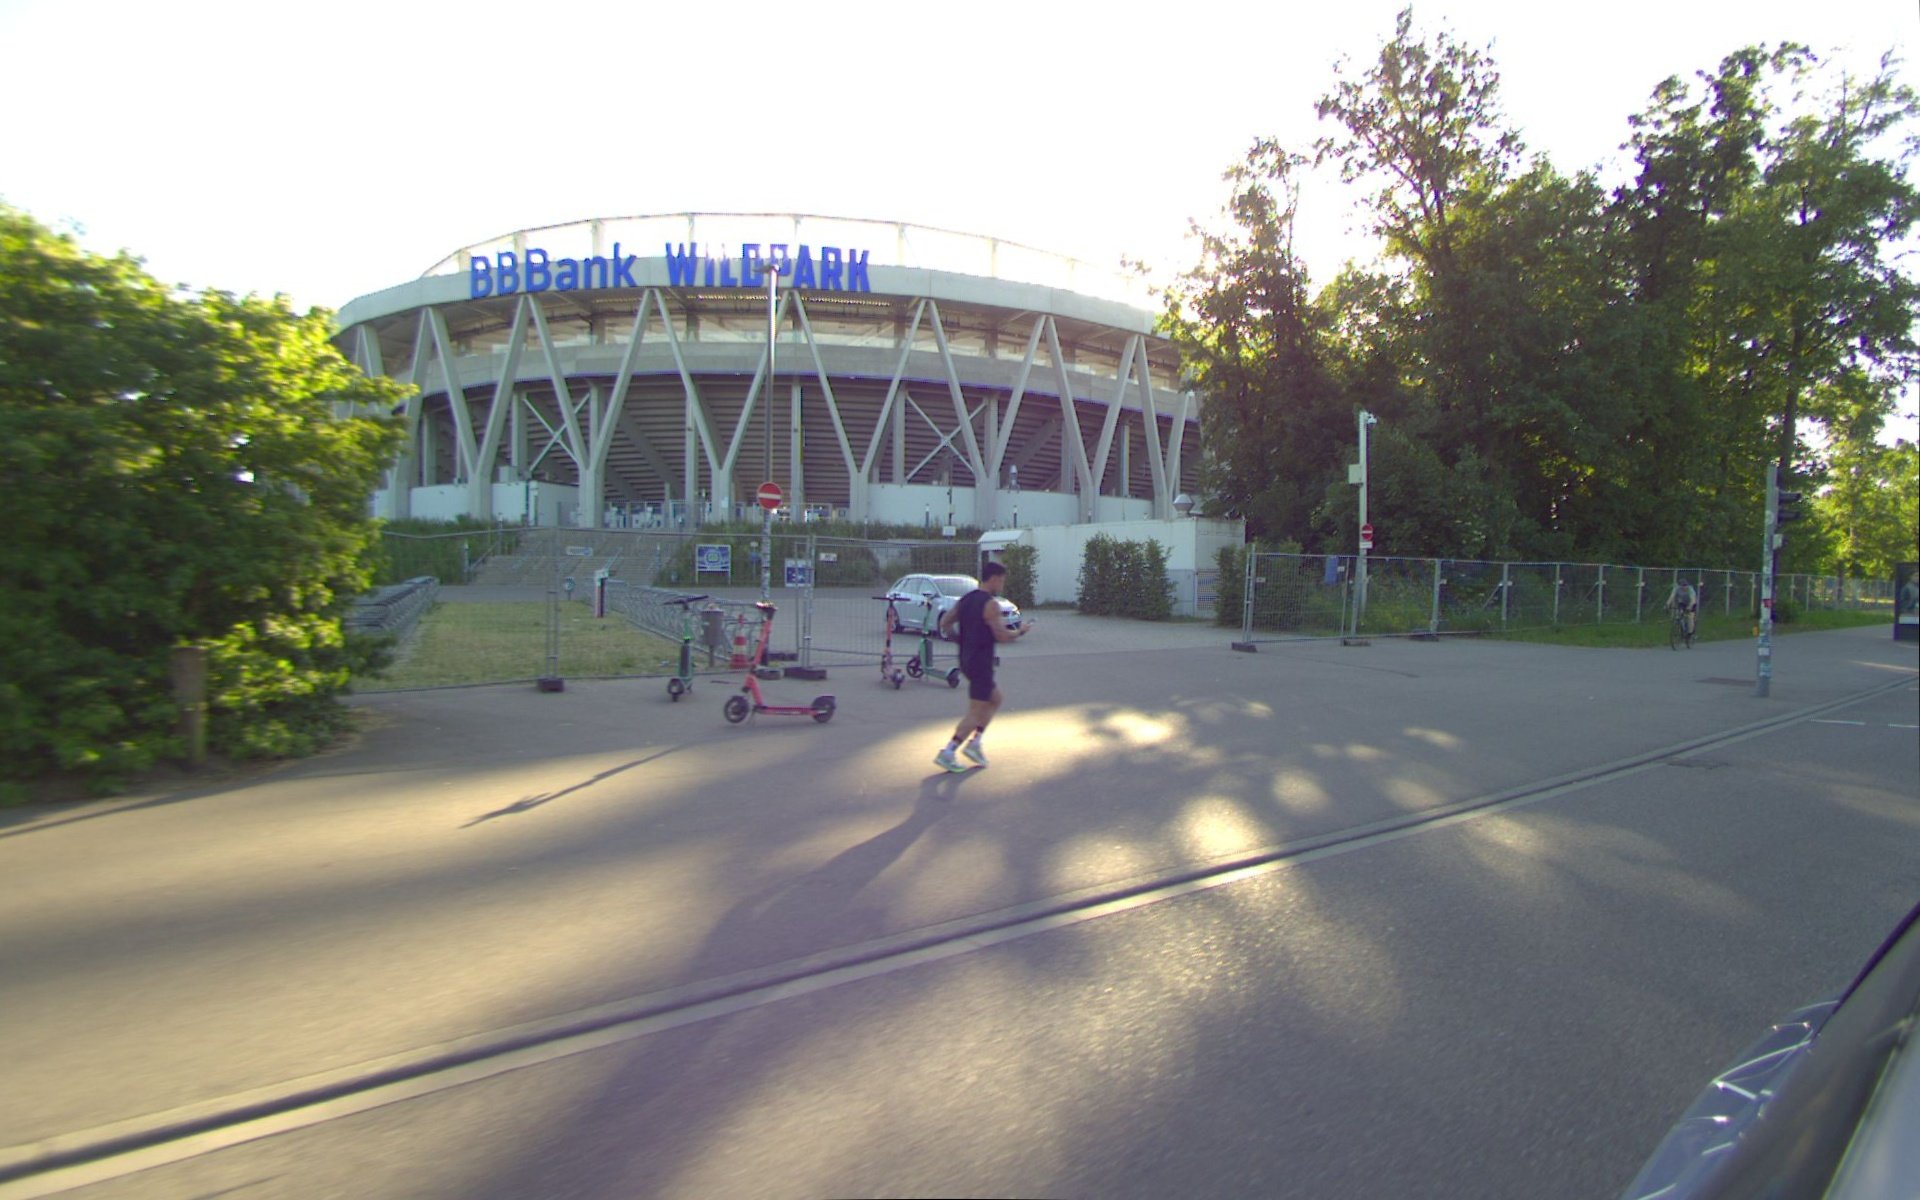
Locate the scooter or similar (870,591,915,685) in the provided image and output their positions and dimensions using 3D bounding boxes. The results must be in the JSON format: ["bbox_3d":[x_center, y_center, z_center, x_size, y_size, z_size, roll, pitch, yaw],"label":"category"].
[{"bbox_3d":[-0.927,0.488,13.718,0.386,1.181,1.251,-1,2,-14],"label":"scooter or similar"}]

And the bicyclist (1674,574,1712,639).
[{"bbox_3d":[17.263,0.139,23.837,0.845,1.487,0.521,0,0,-39],"label":"bicyclist"}]

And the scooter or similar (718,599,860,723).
[{"bbox_3d":[-1.713,0.595,10.225,1.380,1.186,0.282,0,2,-30],"label":"scooter or similar"}]

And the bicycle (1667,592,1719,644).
[{"bbox_3d":[17.301,0.406,23.867,1.831,1.151,0.555,-1,1,-40],"label":"bicycle"}]

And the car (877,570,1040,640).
[{"bbox_3d":[-0.151,0.035,23.251,1.784,1.395,4.392,-1,3,-30],"label":"car"}]

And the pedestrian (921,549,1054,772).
[{"bbox_3d":[0.217,0.459,8.253,0.865,1.710,0.628,-1,-1,-29],"label":"pedestrian"}]

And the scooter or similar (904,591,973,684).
[{"bbox_3d":[-0.313,0.492,13.944,0.386,1.160,1.271,-2,3,-30],"label":"scooter or similar"}]

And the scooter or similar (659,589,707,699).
[{"bbox_3d":[-3.293,0.489,12.094,0.386,1.181,1.446,-1,2,-9],"label":"scooter or similar"}]
